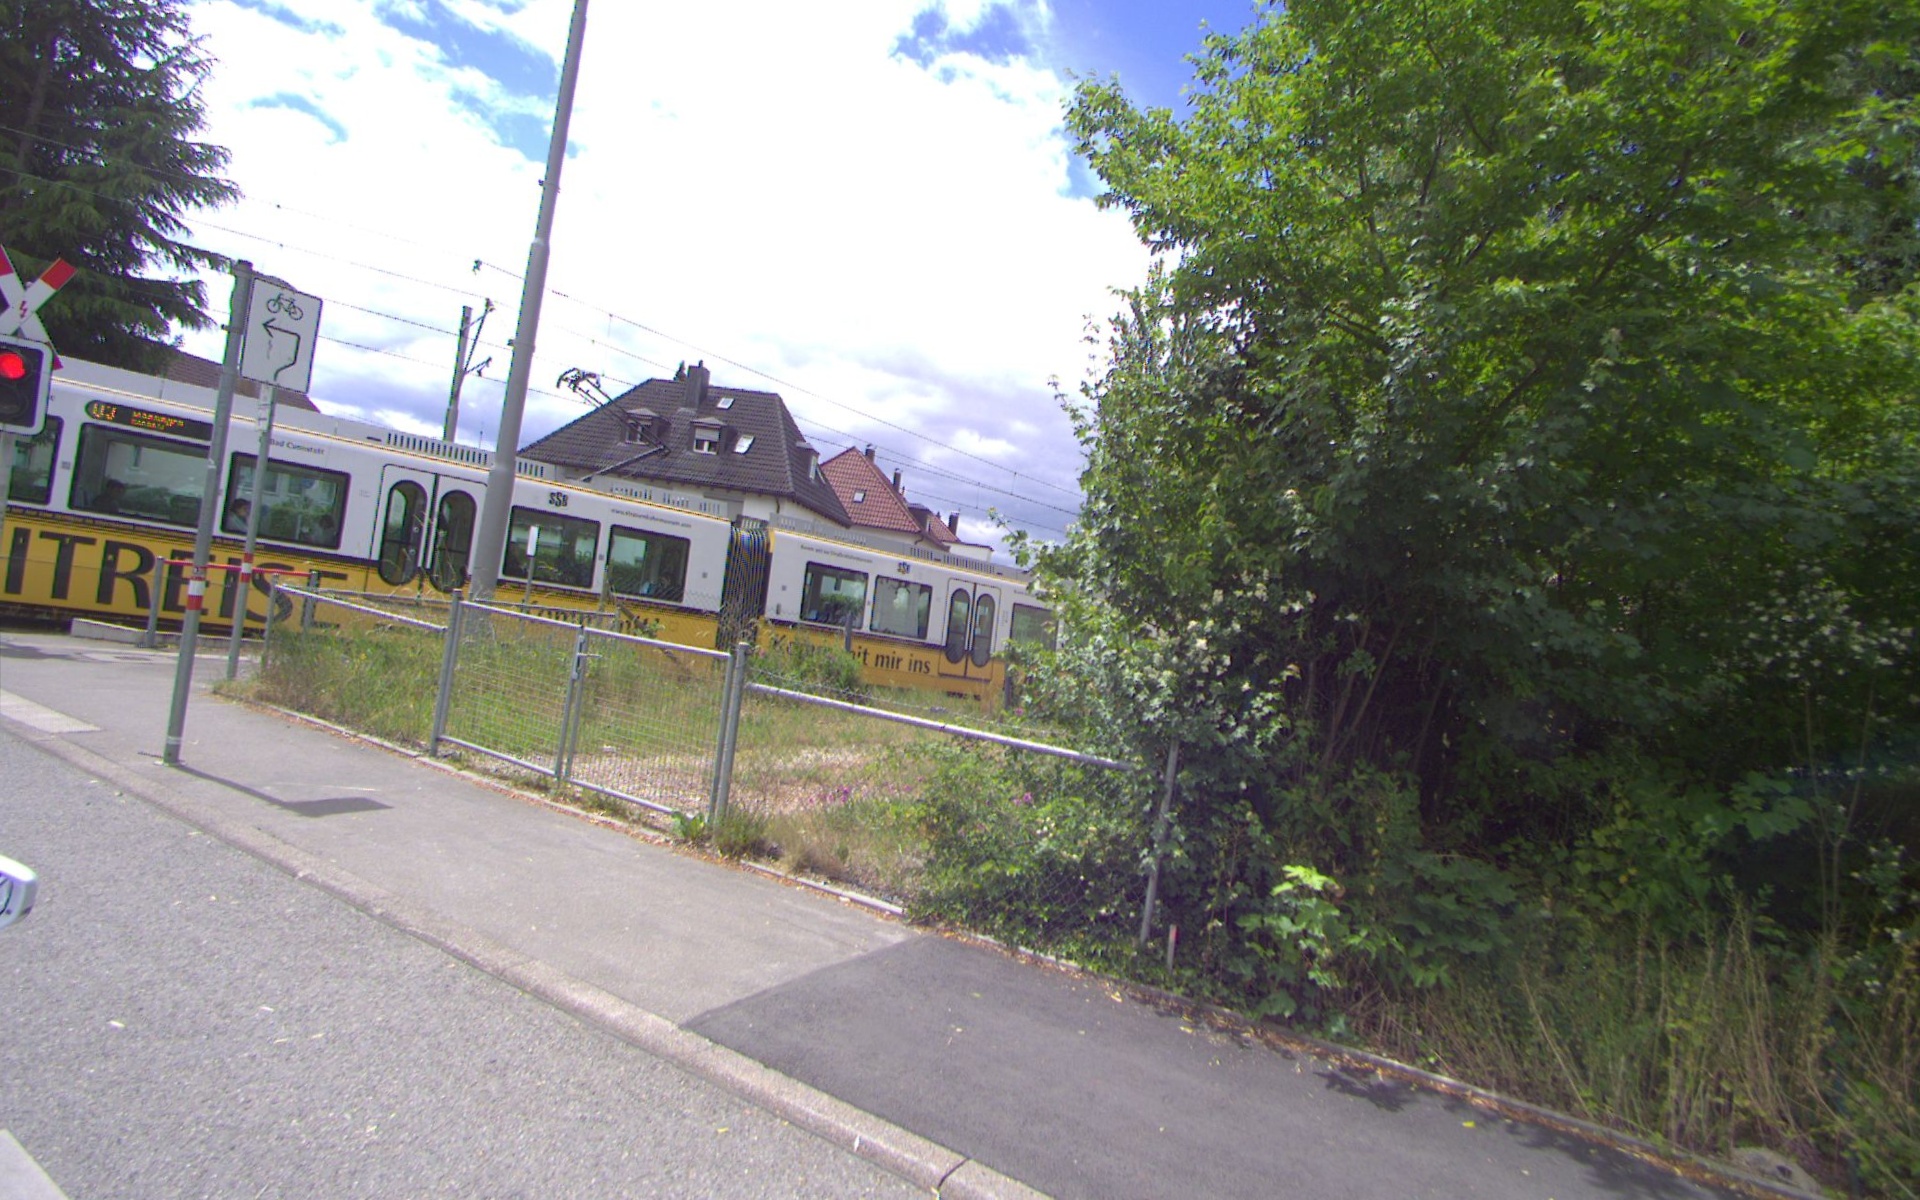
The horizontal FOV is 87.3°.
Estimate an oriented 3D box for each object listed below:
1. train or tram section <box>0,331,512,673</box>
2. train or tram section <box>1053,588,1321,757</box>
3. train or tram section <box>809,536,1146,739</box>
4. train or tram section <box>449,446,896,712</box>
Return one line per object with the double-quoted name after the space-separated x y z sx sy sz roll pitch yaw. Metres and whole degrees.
-11.517 -1.305 15.492 7.655 3.762 2.842 10 -3 -36 "train or tram section"
6.689 2.181 28.943 7.655 3.762 2.842 10 -3 -36 "train or tram section"
0.619 1.029 24.473 7.655 3.762 2.842 10 -3 -36 "train or tram section"
-5.468 -0.161 19.980 7.655 3.762 2.842 10 -3 -36 "train or tram section"
